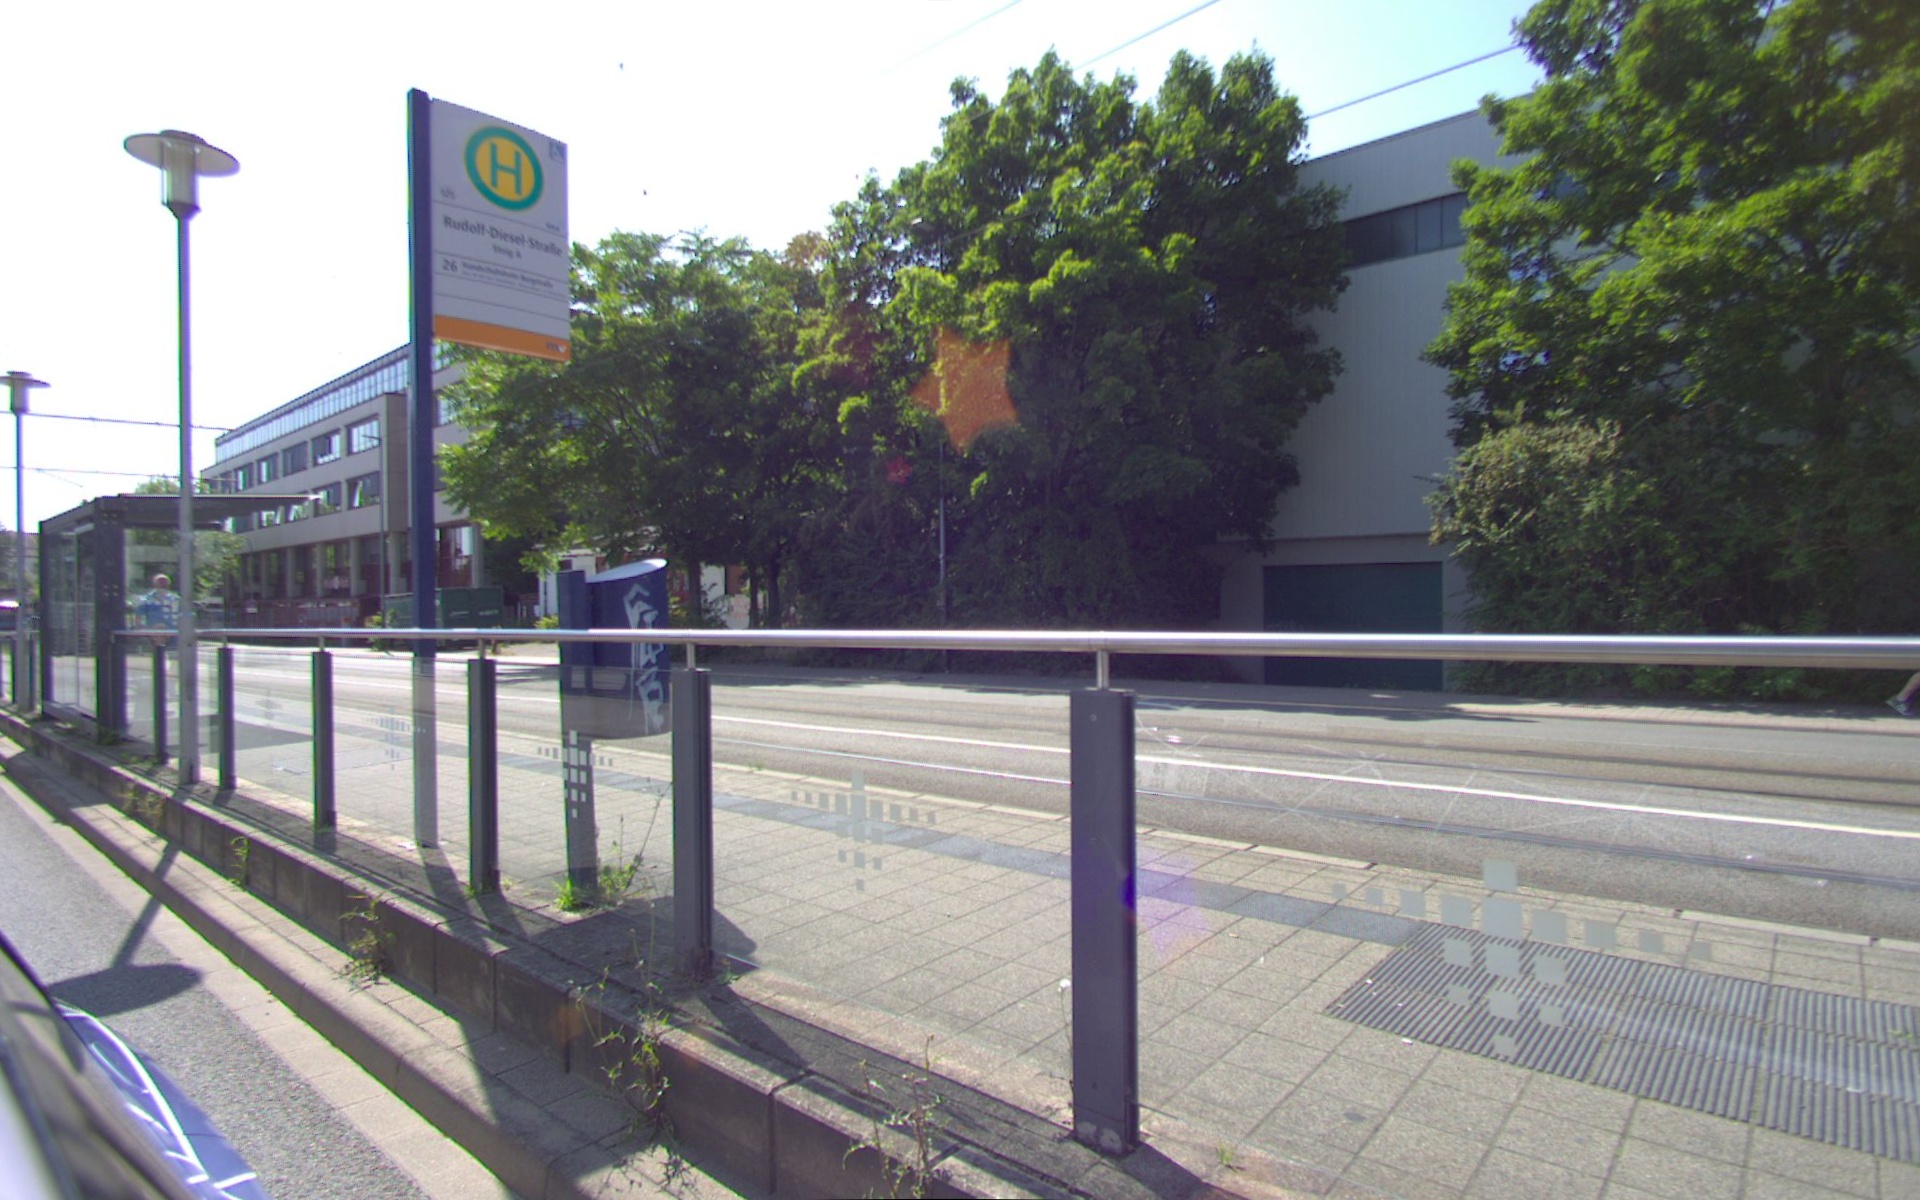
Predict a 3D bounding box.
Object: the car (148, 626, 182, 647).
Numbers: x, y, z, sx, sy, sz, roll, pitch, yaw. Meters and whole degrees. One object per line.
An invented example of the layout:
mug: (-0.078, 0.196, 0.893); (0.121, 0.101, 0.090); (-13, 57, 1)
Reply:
car: (-63.621, 2.902, 80.958); (1.969, 1.635, 4.005); (1, -2, -41)

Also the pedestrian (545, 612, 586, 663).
pedestrian: (-12.167, 1.154, 31.233); (0.845, 1.538, 0.862); (-2, -1, 41)

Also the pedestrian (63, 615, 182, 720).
pedestrian: (-9.607, 0.753, 11.619); (0.726, 1.107, 0.933); (-3, -1, 41)

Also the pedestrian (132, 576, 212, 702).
pedestrian: (-11.339, 0.548, 14.561); (0.944, 1.738, 0.716); (-3, -1, 42)

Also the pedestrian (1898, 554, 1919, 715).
pedestrian: (10.640, 0.346, 10.582); (1.159, 1.683, 0.877); (-1, 0, 41)

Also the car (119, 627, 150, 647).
car: (-69.689, 3.106, 85.427); (1.843, 1.630, 4.005); (1, -2, -41)

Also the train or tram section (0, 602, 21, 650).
train or tram section: (-75.545, 2.056, 78.589); (12.322, 3.511, 2.646); (-2, -1, 41)
